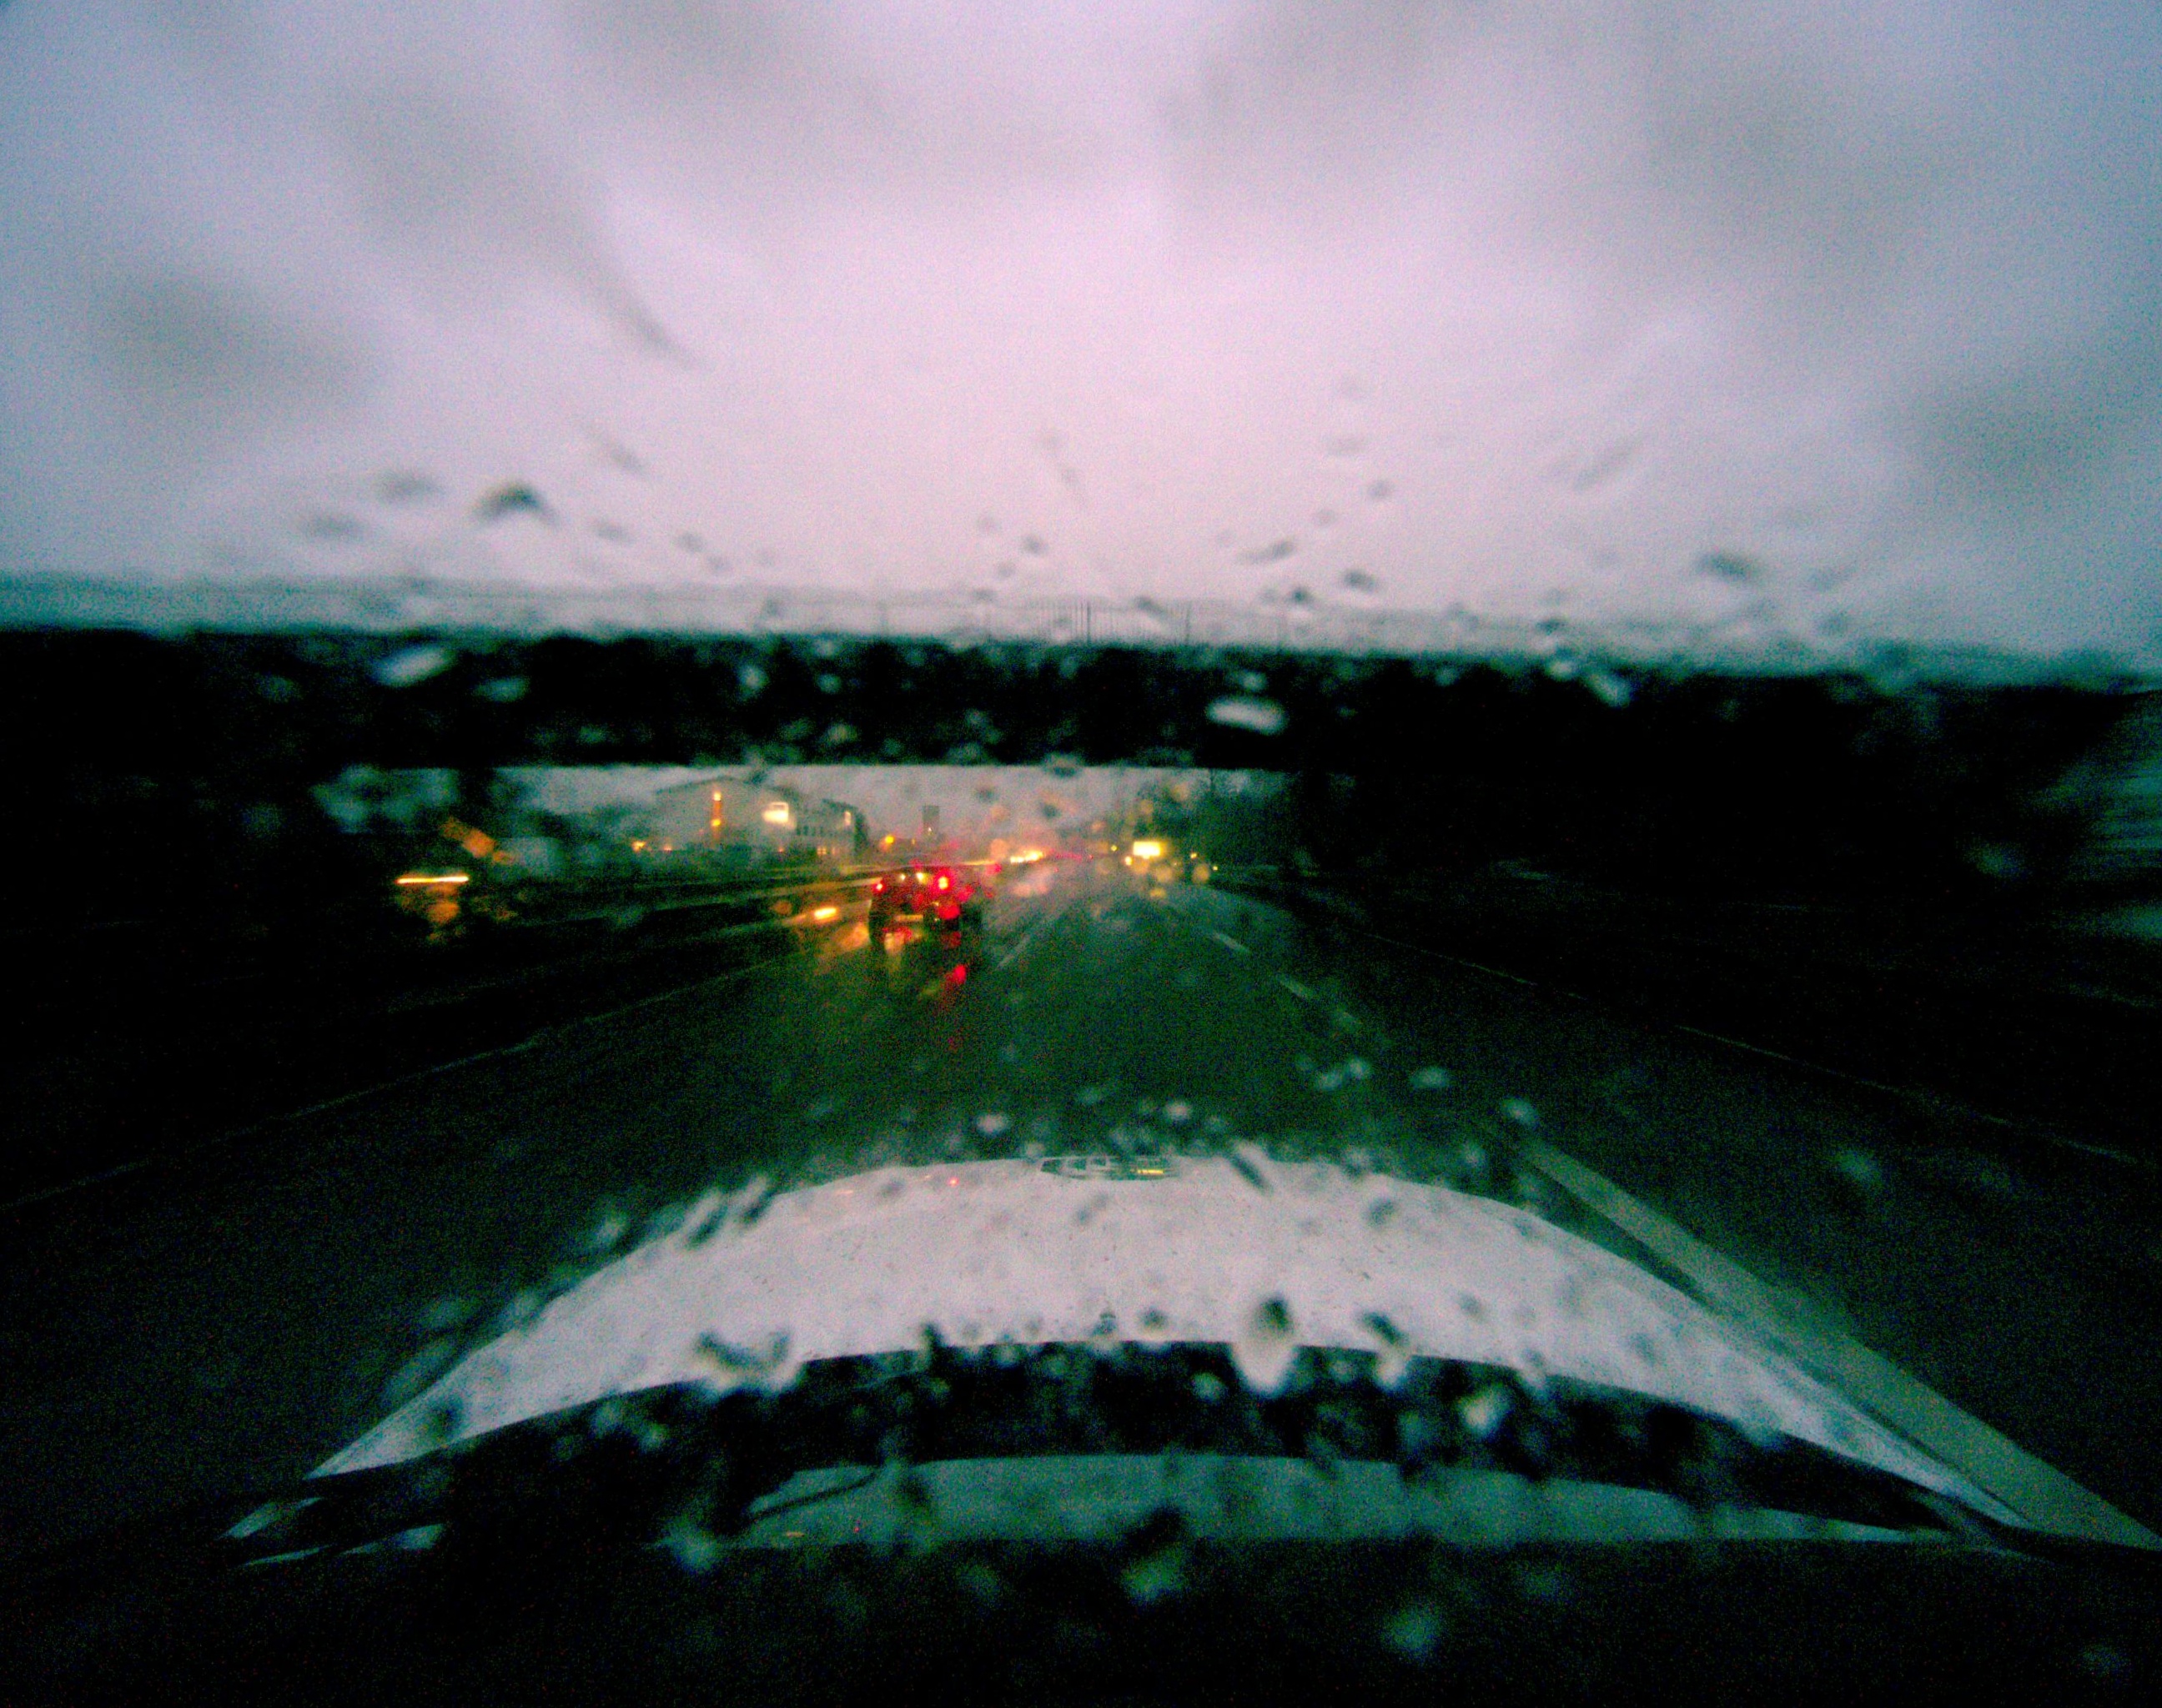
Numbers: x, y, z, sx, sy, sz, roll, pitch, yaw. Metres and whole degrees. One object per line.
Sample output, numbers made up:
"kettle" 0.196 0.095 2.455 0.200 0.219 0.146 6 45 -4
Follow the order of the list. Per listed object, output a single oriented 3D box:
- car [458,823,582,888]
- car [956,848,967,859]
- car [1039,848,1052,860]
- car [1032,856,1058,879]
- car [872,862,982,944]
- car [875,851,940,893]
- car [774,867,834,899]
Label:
"car" -25.672 0.052 37.527 2.180 2.772 4.585 2 0 5
"car" -21.413 -0.139 146.329 1.889 1.821 3.863 2 0 -8
"car" -6.790 -0.056 155.205 2.120 2.120 3.568 1 0 -6
"car" -2.537 0.949 58.560 1.771 1.534 4.699 -1 0 -2
"car" -3.050 0.925 16.754 1.522 1.415 3.479 2 0 0
"car" -8.535 0.807 40.583 1.987 1.873 5.271 2 0 1
"car" -12.184 1.240 35.989 1.429 1.222 3.367 -1 0 0
